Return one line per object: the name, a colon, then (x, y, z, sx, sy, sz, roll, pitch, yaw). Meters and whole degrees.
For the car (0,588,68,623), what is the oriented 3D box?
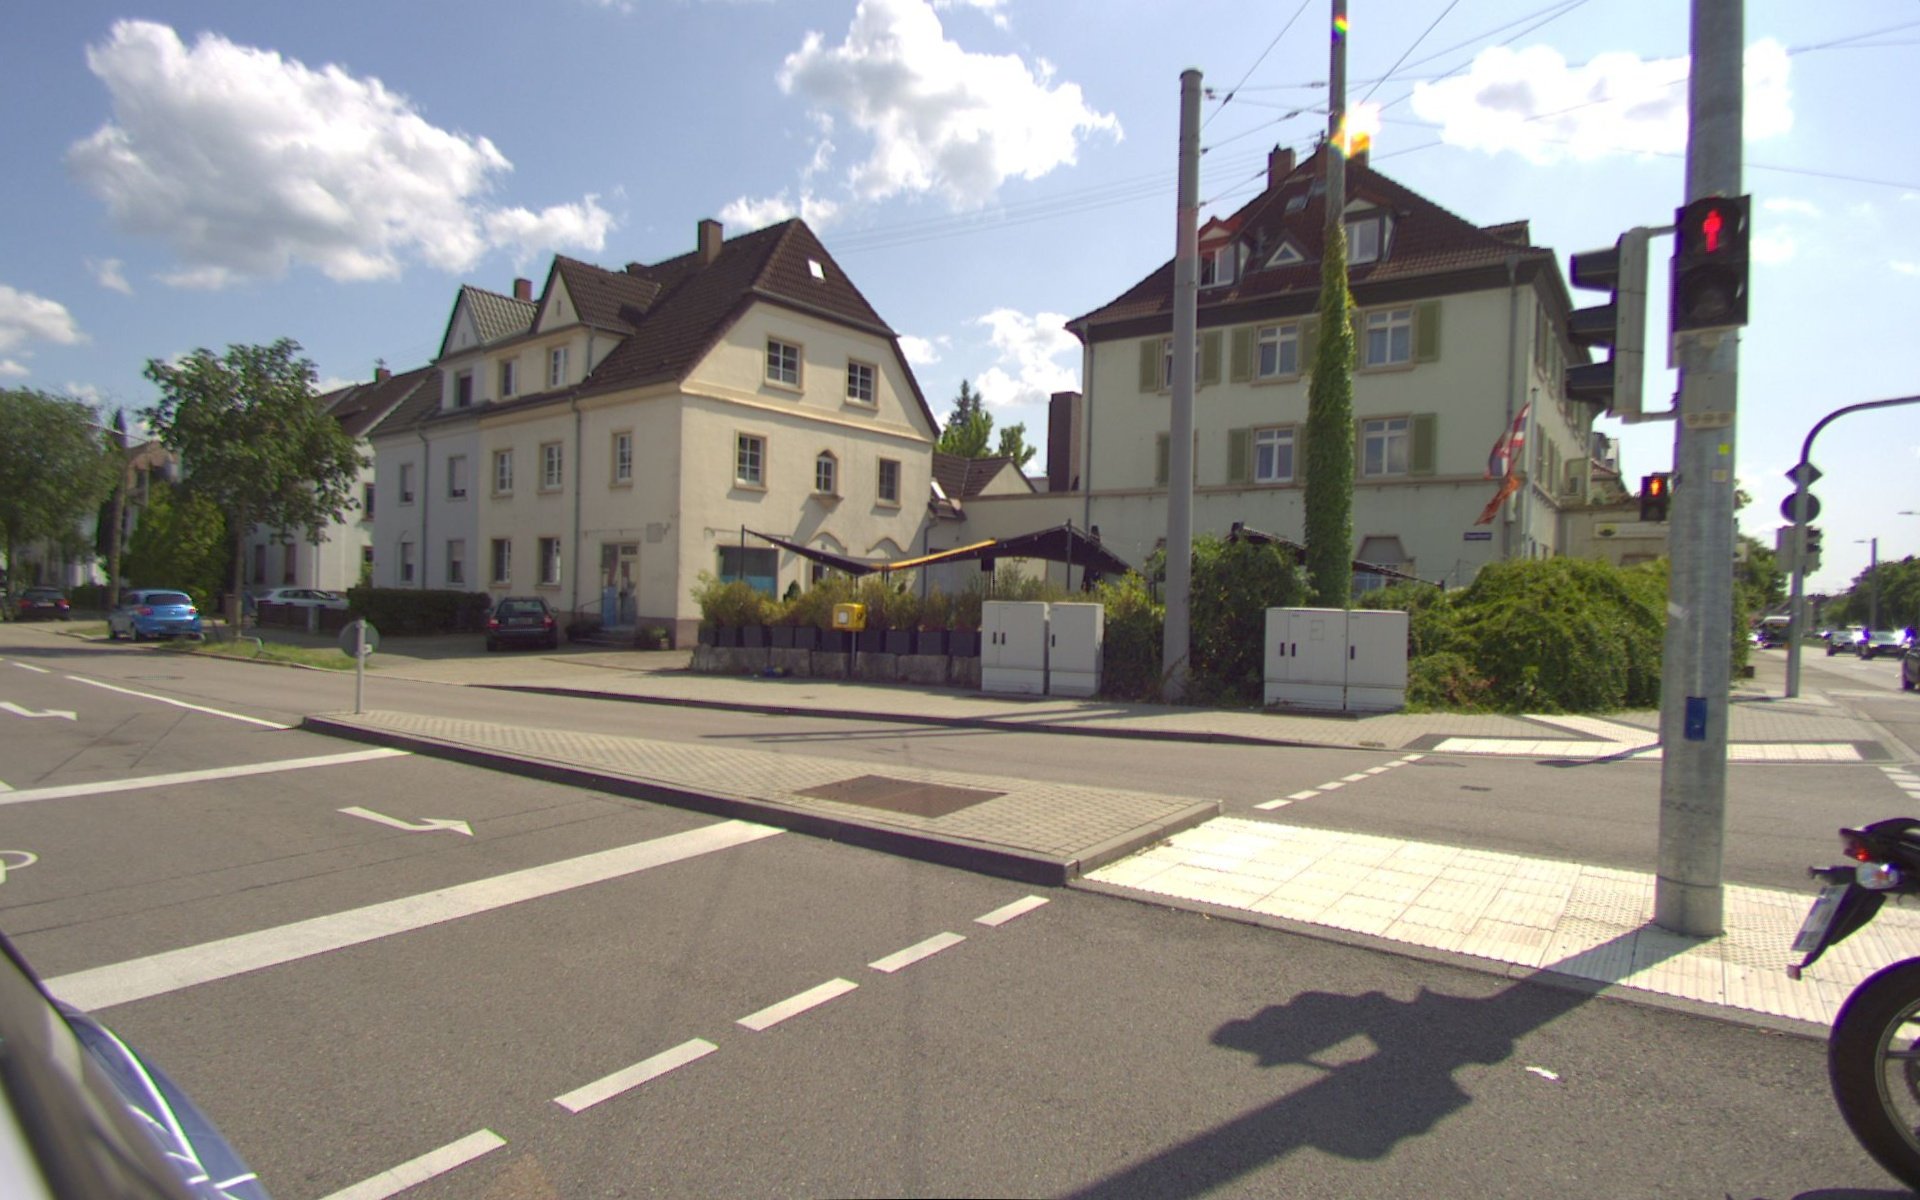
car: (-37.570, 0.214, 41.032, 3.917, 1.306, 1.687, 1, -1, 42)

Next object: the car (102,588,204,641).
car: (-23.821, 0.414, 29.849, 3.151, 1.473, 1.688, 1, -1, 39)

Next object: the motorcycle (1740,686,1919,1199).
motorcycle: (3.204, 0.843, 2.137, 2.349, 1.136, 0.835, 1, -1, 30)

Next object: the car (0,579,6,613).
car: (-48.387, -0.220, 49.988, 3.573, 1.667, 1.541, 1, -1, 42)

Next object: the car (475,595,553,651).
car: (-12.085, 0.592, 27.630, 1.731, 1.397, 4.116, 1, 0, -21)

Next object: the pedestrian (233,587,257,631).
pedestrian: (-25.749, 0.331, 36.461, 0.622, 1.547, 0.619, 2, -1, -39)

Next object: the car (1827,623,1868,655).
car: (59.707, 2.631, 68.167, 1.999, 2.029, 3.946, 1, -1, 41)

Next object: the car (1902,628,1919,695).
car: (23.716, 1.494, 23.753, 1.743, 1.596, 3.879, 1, 0, 34)

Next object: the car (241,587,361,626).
car: (-26.573, 0.278, 40.876, 1.710, 1.465, 3.756, 1, -1, 42)

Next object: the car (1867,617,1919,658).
car: (50.610, 1.999, 54.694, 1.901, 2.029, 3.670, 2, 0, 35)
